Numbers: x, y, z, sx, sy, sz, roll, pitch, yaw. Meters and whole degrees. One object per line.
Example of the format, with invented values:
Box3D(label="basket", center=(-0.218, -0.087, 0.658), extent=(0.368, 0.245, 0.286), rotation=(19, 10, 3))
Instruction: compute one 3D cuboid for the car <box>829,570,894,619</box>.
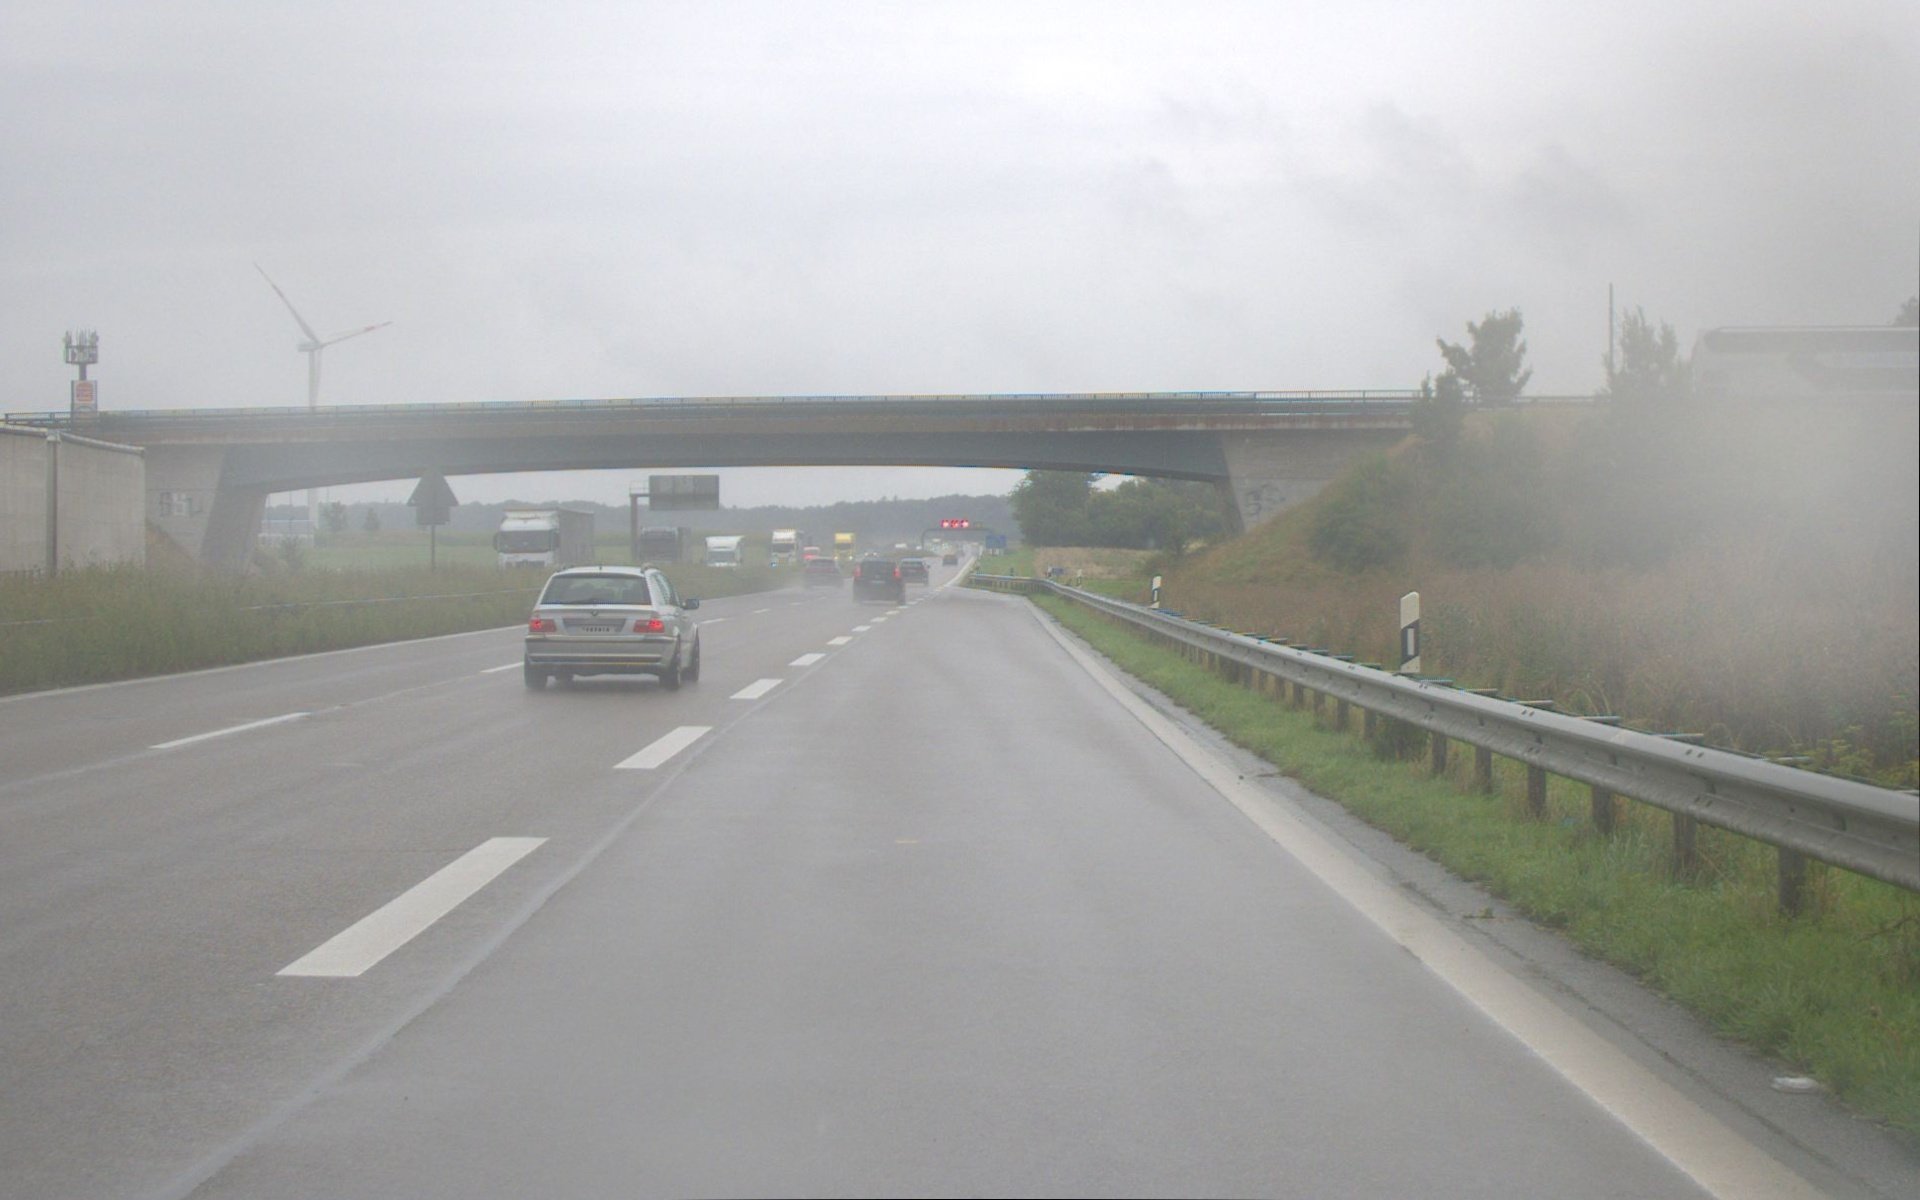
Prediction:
Box3D(label="car", center=(-3.429, -0.190, 120.867), extent=(2.145, 1.630, 4.595), rotation=(1, 0, 0))

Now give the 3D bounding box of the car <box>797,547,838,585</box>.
Box3D(label="car", center=(-7.386, -1.793, 178.429), extent=(1.993, 1.743, 4.001), rotation=(-2, 3, -1))

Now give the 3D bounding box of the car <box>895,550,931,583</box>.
Box3D(label="car", center=(-2.712, -1.959, 199.799), extent=(1.993, 1.691, 4.001), rotation=(-2, 3, 0))

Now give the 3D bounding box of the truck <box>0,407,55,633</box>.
Box3D(label="truck", center=(-20.148, -1.527, 65.235), extent=(3.229, 4.370, 10.514), rotation=(0, 1, 0))

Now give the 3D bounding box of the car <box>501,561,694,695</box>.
Box3D(label="car", center=(-4.193, 0.293, 40.403), extent=(1.874, 1.483, 4.796), rotation=(0, 0, -1))

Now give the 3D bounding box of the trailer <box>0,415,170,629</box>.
Box3D(label="trailer", center=(-20.222, -1.659, 75.754), extent=(3.229, 4.370, 10.514), rotation=(0, 1, 0))
